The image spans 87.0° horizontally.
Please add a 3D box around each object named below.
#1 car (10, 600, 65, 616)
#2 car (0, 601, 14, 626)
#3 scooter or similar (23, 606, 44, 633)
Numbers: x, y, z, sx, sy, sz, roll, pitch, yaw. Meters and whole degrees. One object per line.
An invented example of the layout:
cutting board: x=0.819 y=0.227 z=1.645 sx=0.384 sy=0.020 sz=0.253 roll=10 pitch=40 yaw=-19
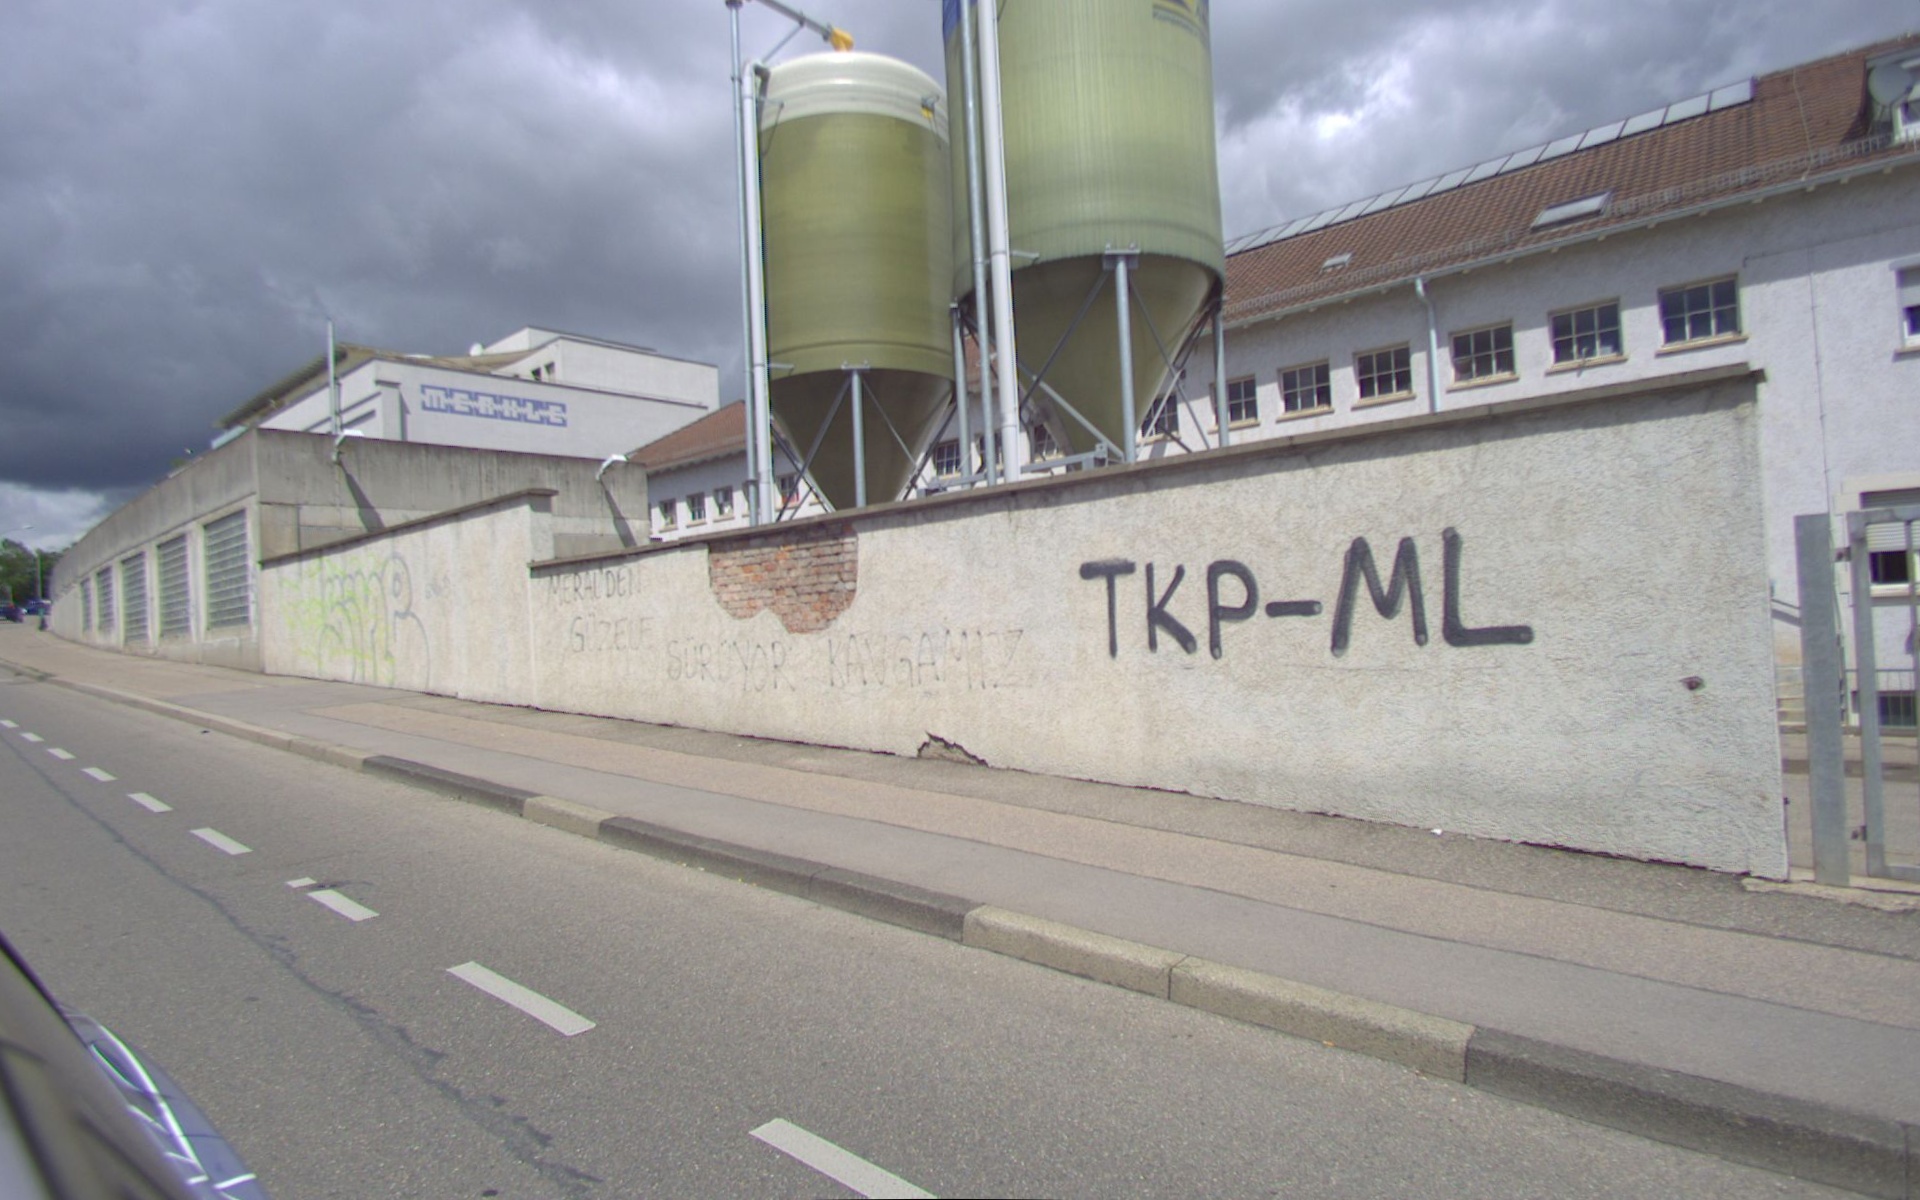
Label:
car: x=-122.785 y=1.062 z=134.712 sx=1.949 sy=1.984 sz=5.092 roll=0 pitch=1 yaw=23
car: x=-70.698 y=0.983 z=74.325 sx=3.782 sy=1.831 sz=1.608 roll=0 pitch=-1 yaw=45
scooter or similar: x=-45.044 y=0.952 z=49.207 sx=1.382 sy=1.285 sz=0.514 roll=0 pitch=2 yaw=40
